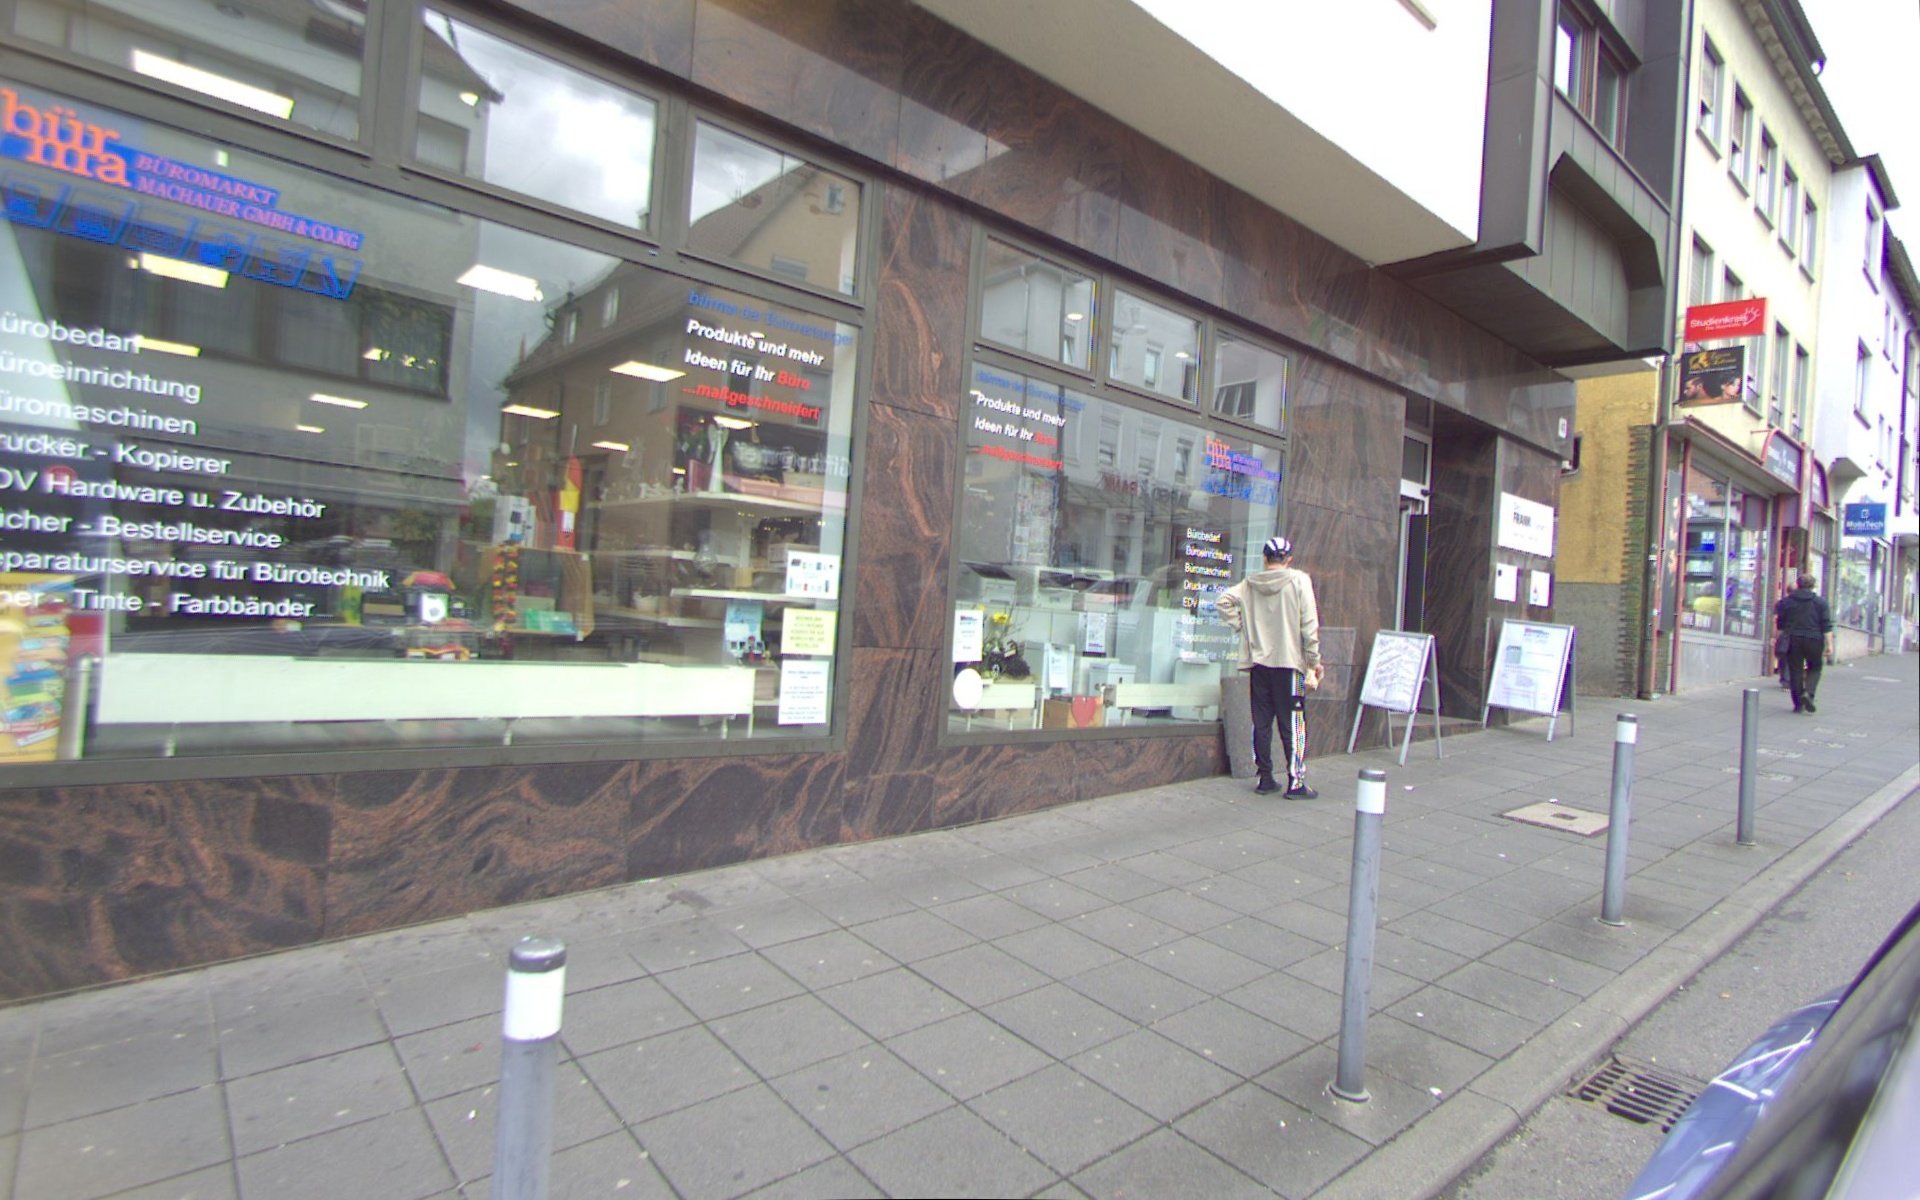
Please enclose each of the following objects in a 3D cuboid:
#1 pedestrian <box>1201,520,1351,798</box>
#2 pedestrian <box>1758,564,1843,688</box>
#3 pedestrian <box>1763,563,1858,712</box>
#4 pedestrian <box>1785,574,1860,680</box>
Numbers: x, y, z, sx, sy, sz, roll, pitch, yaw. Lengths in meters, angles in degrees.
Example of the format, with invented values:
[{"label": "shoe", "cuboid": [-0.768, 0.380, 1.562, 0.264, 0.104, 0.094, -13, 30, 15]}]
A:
[{"label": "pedestrian", "cuboid": [2.086, 0.355, 6.700, 0.663, 1.709, 0.535, 7, 4, 44]}, {"label": "pedestrian", "cuboid": [12.764, 0.384, 15.370, 0.771, 1.773, 0.713, 1, 5, -40]}, {"label": "pedestrian", "cuboid": [10.731, 0.448, 12.773, 0.773, 1.774, 0.713, 1, 3, -40]}, {"label": "pedestrian", "cuboid": [14.093, 0.424, 16.539, 0.820, 1.651, 0.713, 1, 3, -40]}]
